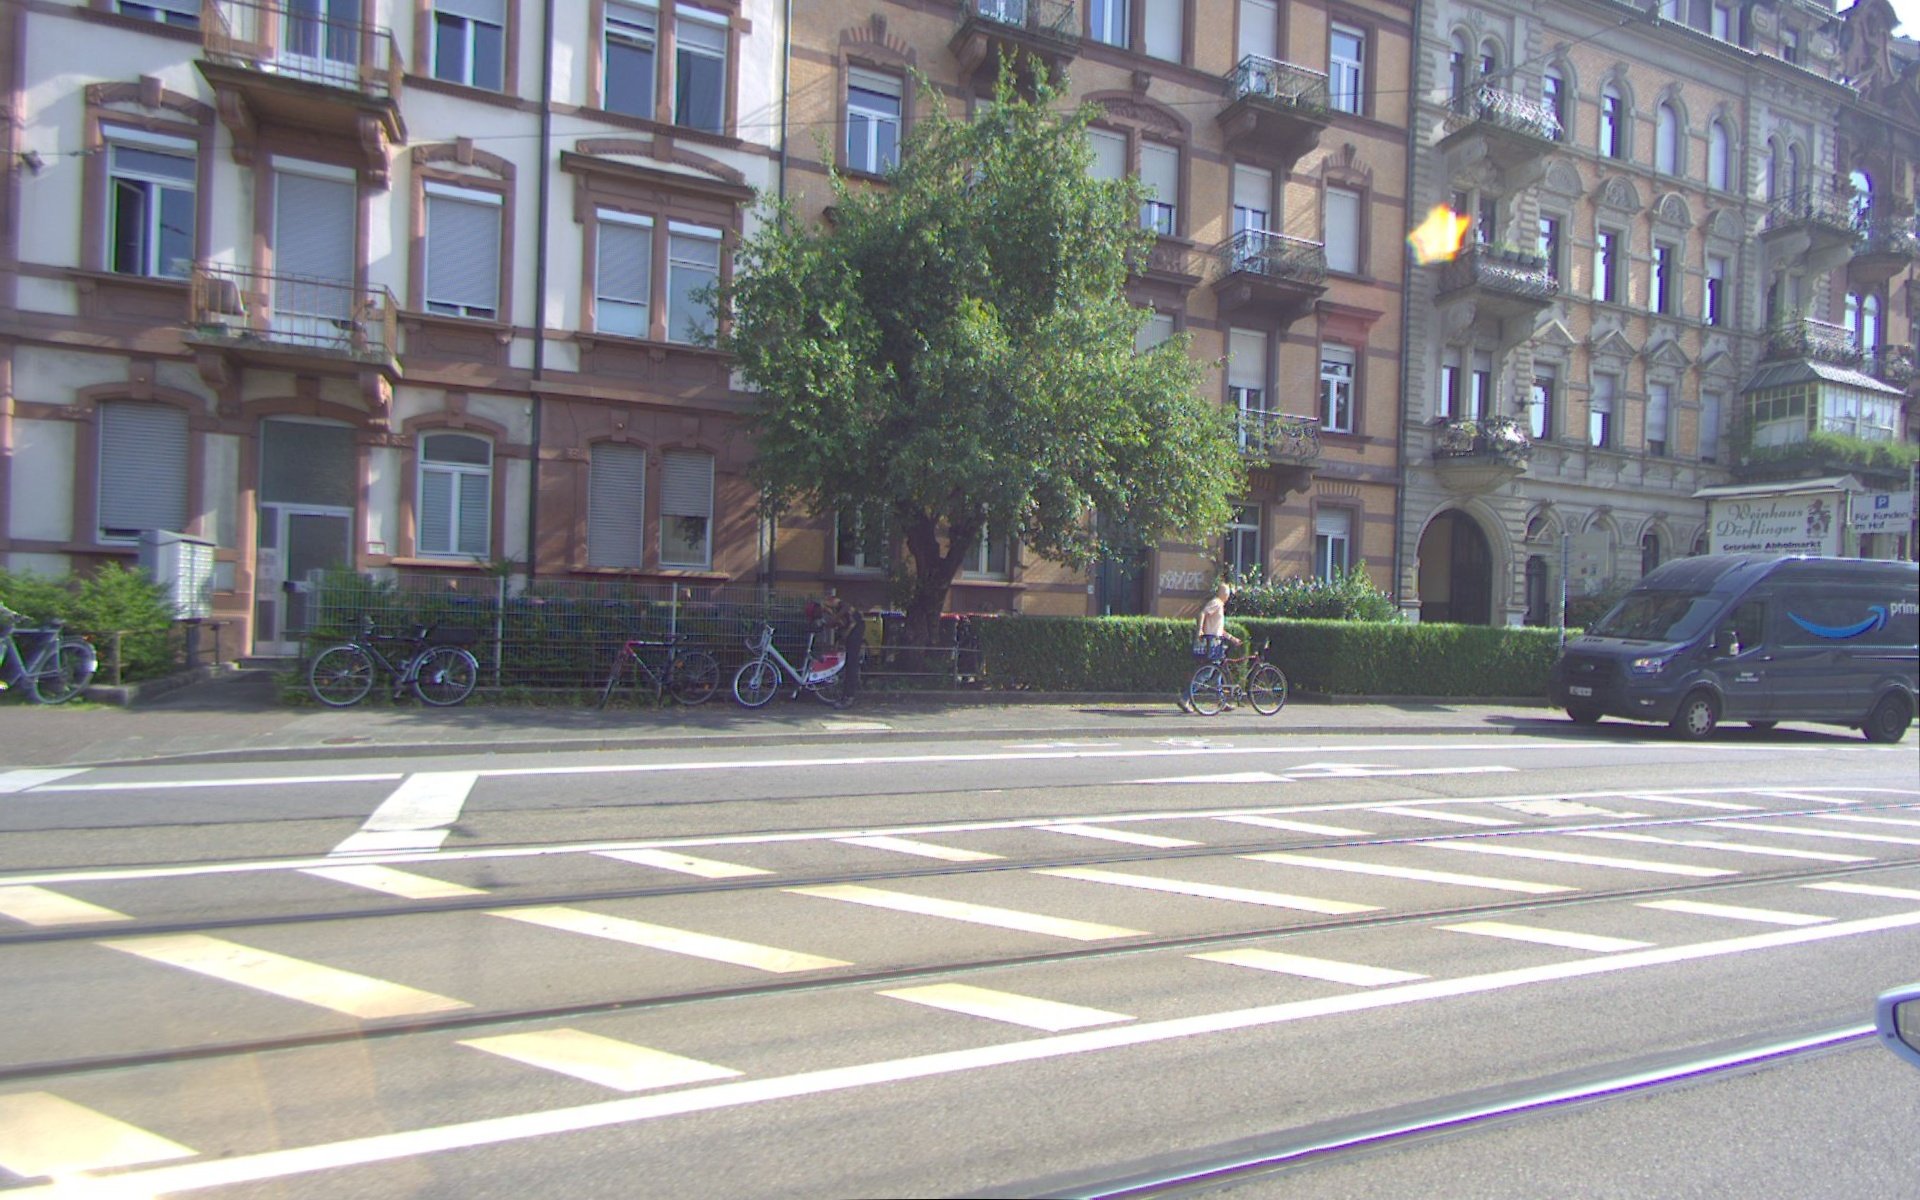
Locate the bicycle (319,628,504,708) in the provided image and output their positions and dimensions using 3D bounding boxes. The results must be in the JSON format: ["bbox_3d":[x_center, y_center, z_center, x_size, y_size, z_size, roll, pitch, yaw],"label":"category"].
[{"bbox_3d":[-6.356,0.797,11.736,1.800,0.871,0.526,2,0,-19],"label":"bicycle"}]

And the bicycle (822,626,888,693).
[{"bbox_3d":[-1.557,0.842,14.653,0.520,0.871,1.694,2,0,-21],"label":"bicycle"}]

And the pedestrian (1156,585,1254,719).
[{"bbox_3d":[3.465,0.725,14.210,1.078,1.830,0.726,2,0,-24],"label":"pedestrian"}]

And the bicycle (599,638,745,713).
[{"bbox_3d":[-3.557,0.938,12.438,1.676,0.871,0.526,2,0,-19],"label":"bicycle"}]

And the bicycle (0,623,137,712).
[{"bbox_3d":[-10.017,0.722,11.073,1.791,0.871,0.528,2,0,17],"label":"bicycle"}]

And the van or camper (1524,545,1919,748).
[{"bbox_3d":[11.871,0.759,15.287,5.989,2.679,2.051,3,-1,-15],"label":"van or camper"}]

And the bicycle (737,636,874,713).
[{"bbox_3d":[-2.003,0.971,13.048,1.676,0.940,0.526,2,0,-19],"label":"bicycle"}]

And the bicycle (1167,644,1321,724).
[{"bbox_3d":[3.943,1.160,13.920,2.120,1.020,0.617,2,-1,-23],"label":"bicycle"}]

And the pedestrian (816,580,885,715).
[{"bbox_3d":[-1.429,0.611,13.101,0.627,1.700,0.633,2,-1,-34],"label":"pedestrian"}]
